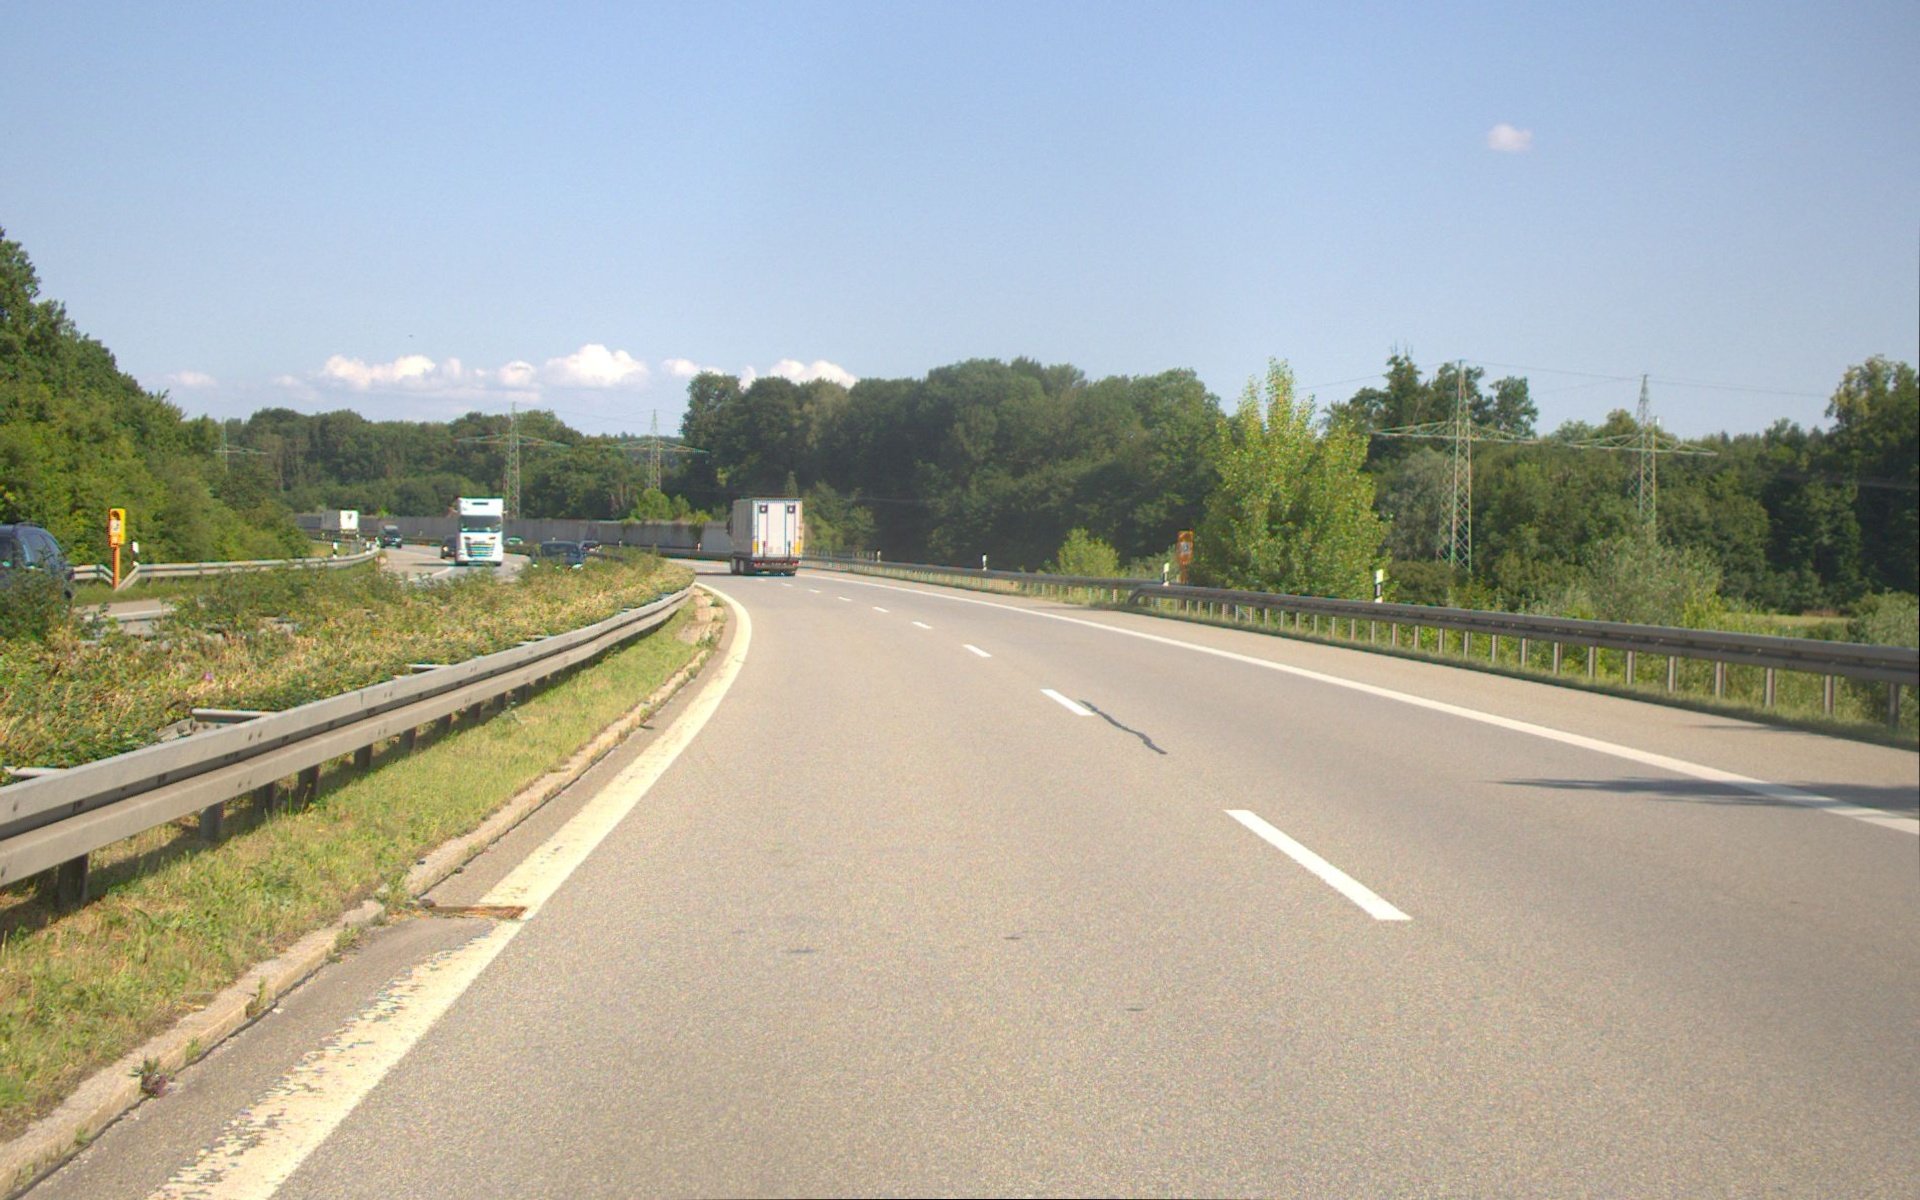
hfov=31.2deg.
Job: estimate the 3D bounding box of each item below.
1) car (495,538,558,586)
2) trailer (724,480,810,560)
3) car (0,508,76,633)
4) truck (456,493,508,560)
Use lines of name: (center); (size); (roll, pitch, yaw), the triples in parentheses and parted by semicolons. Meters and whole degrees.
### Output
car: (-13.265, -1.167, 105.388); (1.729, 1.423, 3.882); (0, 1, -4)
trailer: (-10.291, -4.251, 182.207); (2.883, 4.052, 12.424); (0, 1, -11)
car: (-12.060, -0.378, 41.119); (1.993, 1.427, 4.487); (0, 1, -3)
truck: (-26.929, -4.148, 193.482); (2.740, 3.714, 5.973); (0, 1, -9)
